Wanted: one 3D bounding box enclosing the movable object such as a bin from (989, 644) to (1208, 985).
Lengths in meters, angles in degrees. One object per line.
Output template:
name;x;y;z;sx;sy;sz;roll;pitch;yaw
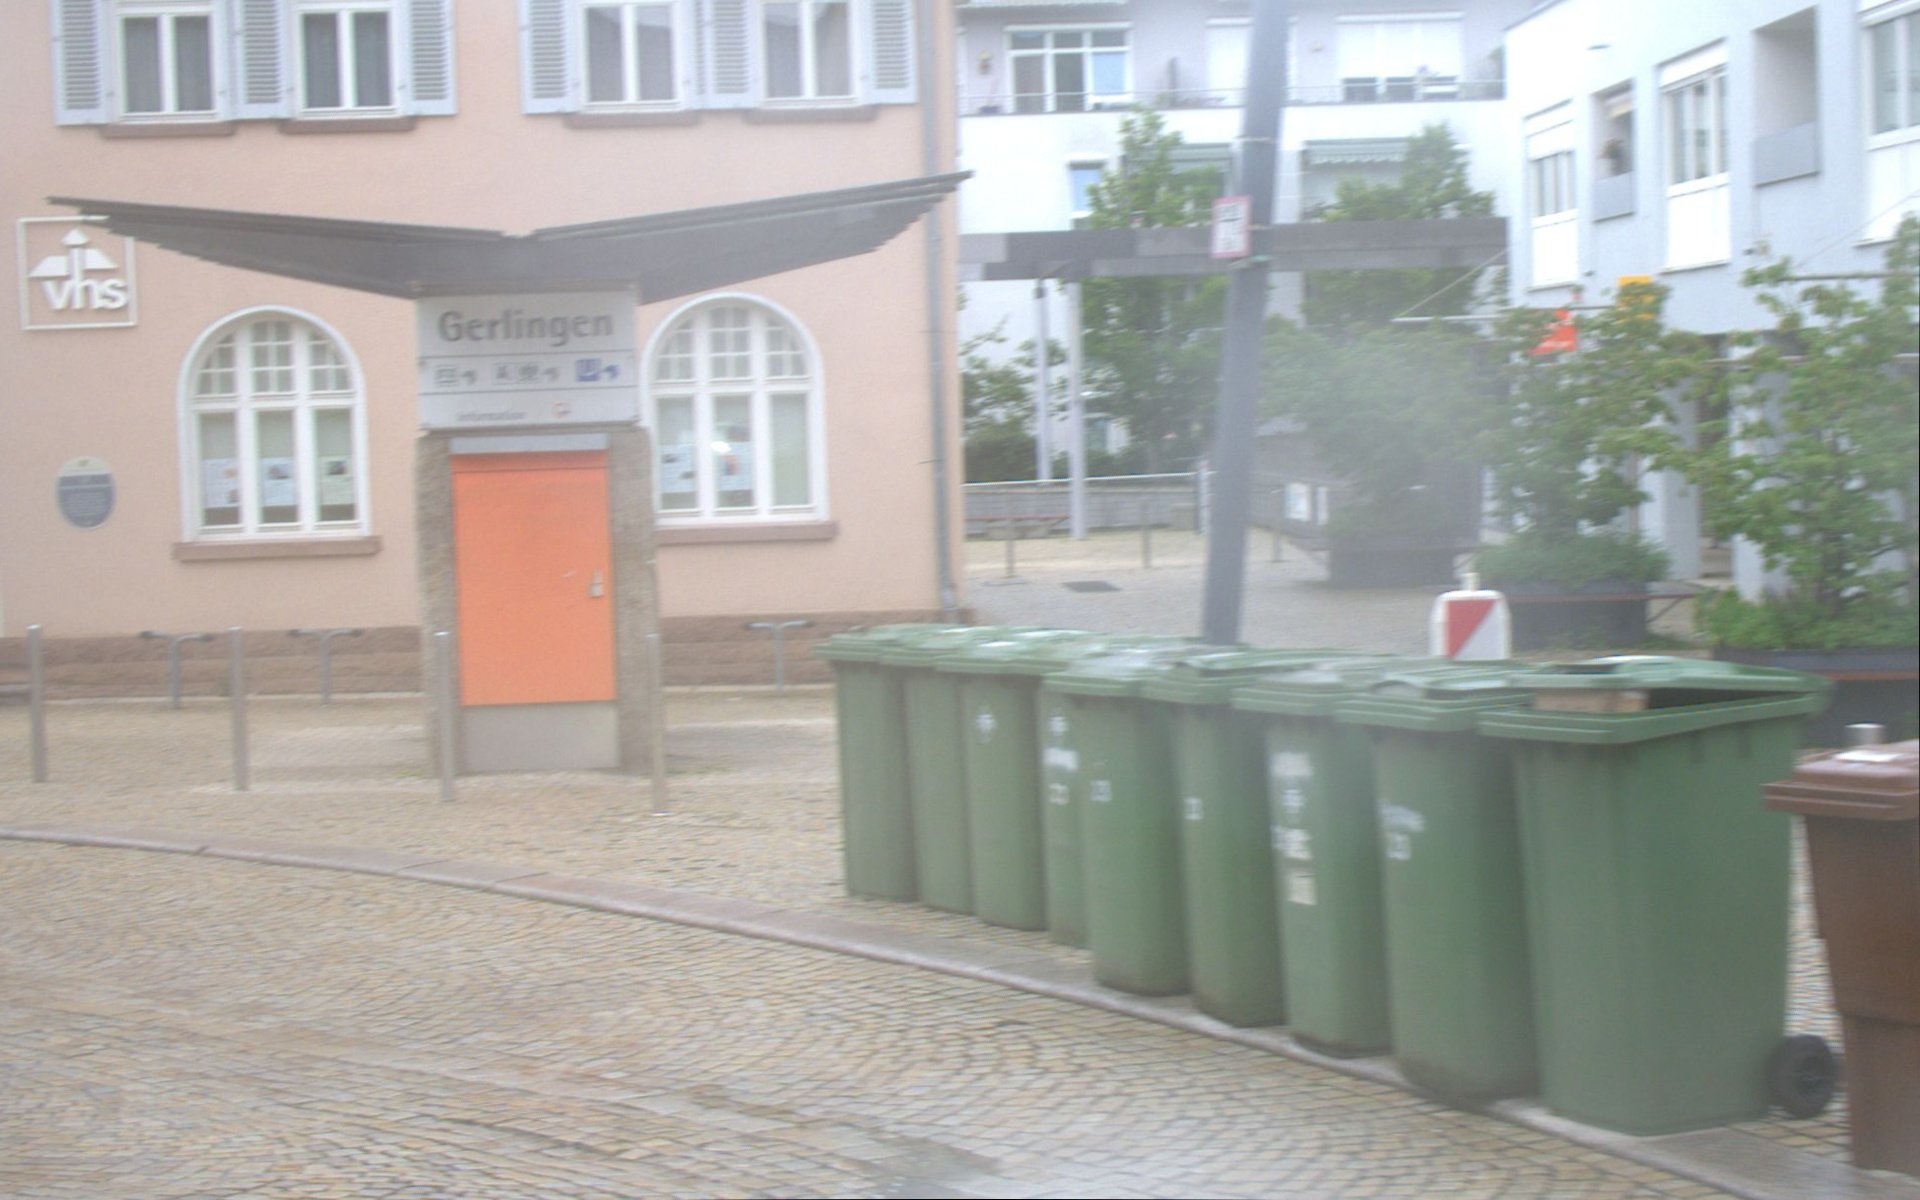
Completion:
movable object such as a bin;0.477;0.732;11.980;0.559;1.122;0.551;-2;1;-20

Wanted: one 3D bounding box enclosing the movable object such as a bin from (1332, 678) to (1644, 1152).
movable object such as a bin;1.340;0.780;8.768;0.559;1.122;0.551;-2;1;-20

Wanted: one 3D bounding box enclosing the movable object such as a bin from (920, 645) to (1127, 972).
movable object such as a bin;0.226;0.741;12.507;0.559;1.122;0.551;-2;1;-20

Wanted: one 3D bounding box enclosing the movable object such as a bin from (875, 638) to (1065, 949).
movable object such as a bin;0.033;0.720;13.066;0.536;1.122;0.540;-2;1;-20

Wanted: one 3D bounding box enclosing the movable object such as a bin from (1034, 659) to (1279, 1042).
movable object such as a bin;0.610;0.765;10.755;0.559;1.122;0.551;-2;1;-20

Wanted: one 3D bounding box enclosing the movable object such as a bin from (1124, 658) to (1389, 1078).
movable object such as a bin;0.865;0.766;10.090;0.559;1.155;0.551;-2;1;-20

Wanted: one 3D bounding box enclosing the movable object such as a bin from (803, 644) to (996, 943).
movable object such as a bin;-0.242;0.750;13.600;0.536;1.122;0.539;-2;1;-30

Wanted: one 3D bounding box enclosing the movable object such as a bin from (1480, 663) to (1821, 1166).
movable object such as a bin;1.651;0.730;8.254;0.559;1.122;0.551;-2;1;-22

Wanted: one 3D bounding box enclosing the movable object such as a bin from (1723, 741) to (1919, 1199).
movable object such as a bin;2.069;0.827;7.531;0.560;0.988;0.498;-2;1;-29

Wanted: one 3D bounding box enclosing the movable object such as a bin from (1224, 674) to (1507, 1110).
movable object such as a bin;1.114;0.784;9.487;0.559;1.122;0.542;-2;1;-20
